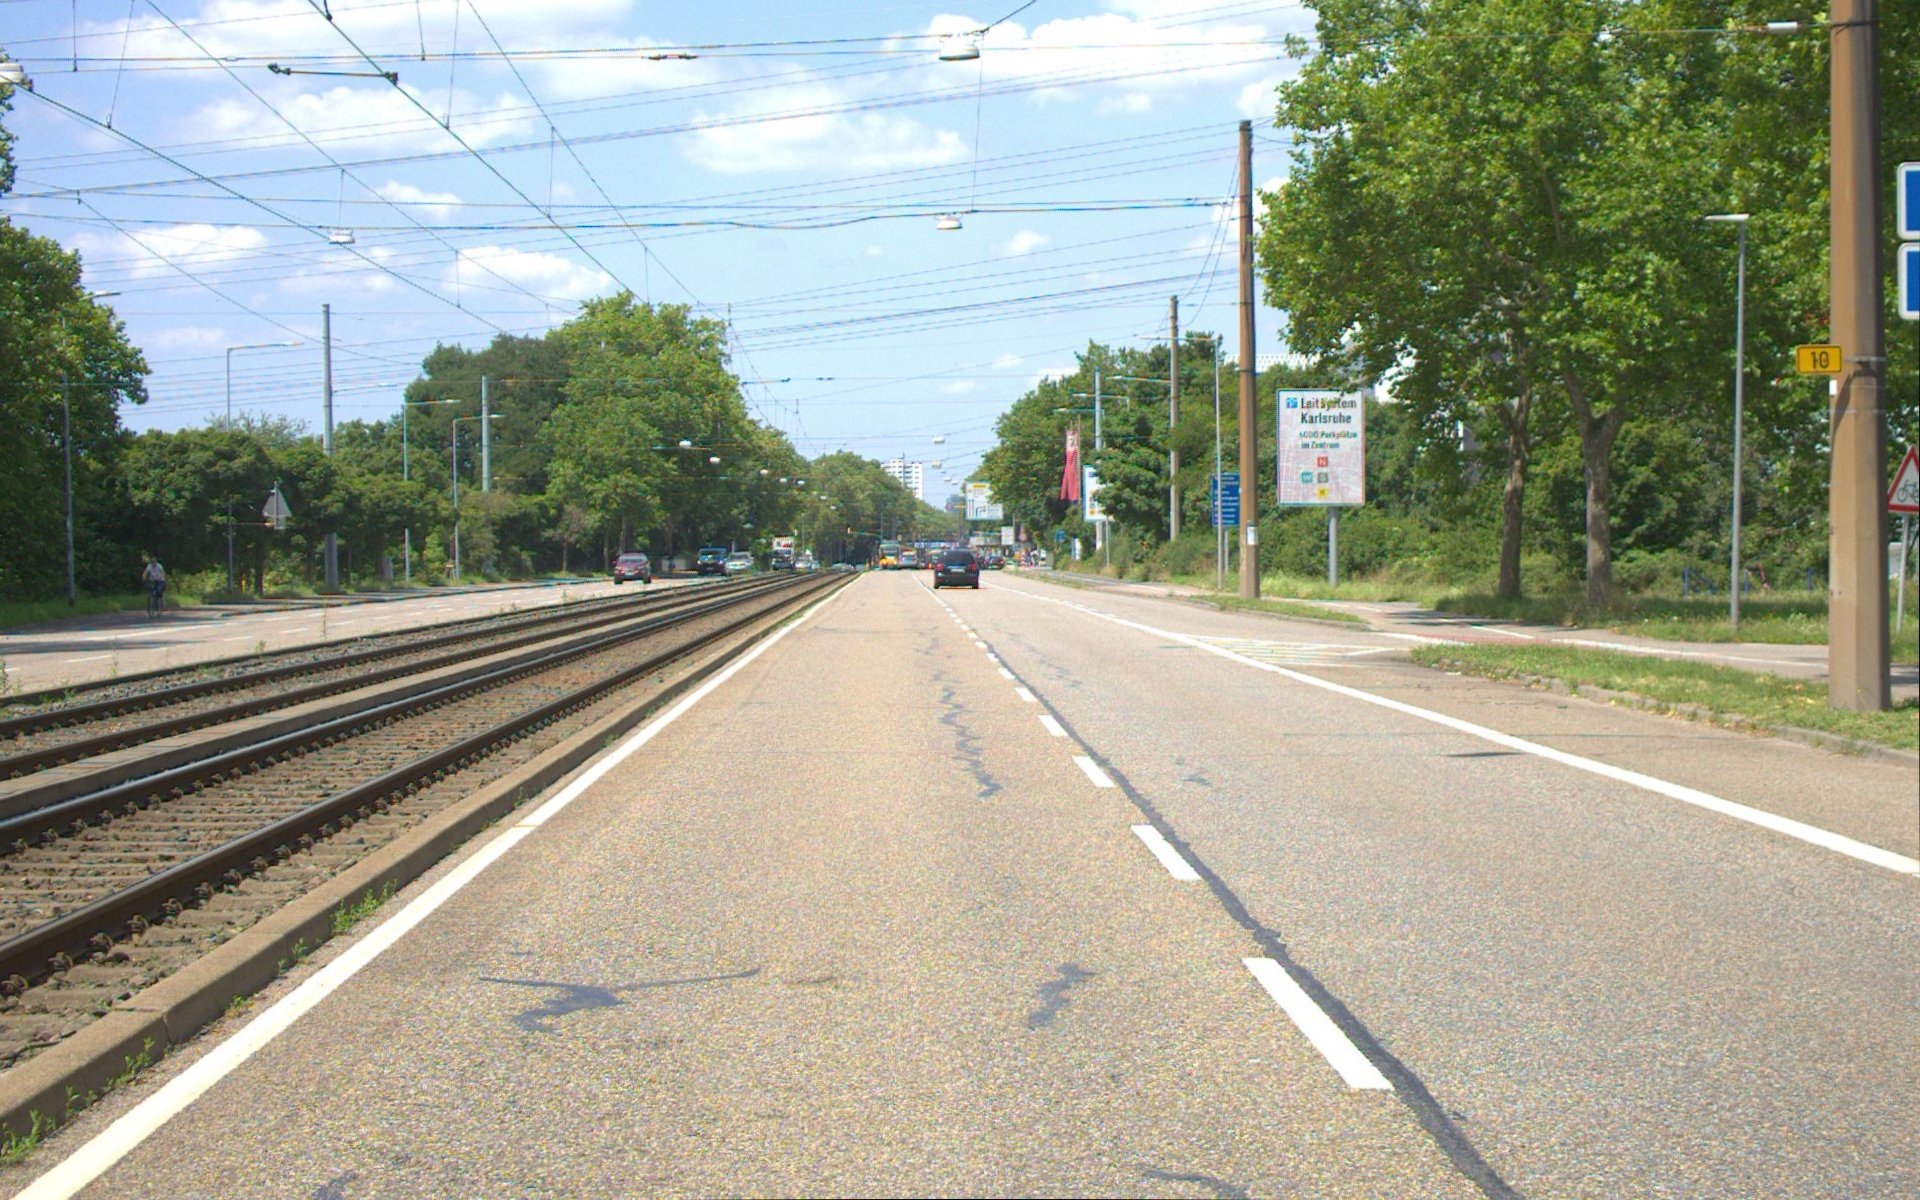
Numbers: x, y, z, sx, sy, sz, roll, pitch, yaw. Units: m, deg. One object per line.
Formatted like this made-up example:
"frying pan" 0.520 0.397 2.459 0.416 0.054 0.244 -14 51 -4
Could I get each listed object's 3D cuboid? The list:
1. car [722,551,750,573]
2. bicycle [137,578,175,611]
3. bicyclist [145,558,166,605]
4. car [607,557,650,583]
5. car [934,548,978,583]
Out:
"car" -15.016 -2.576 230.566 1.716 1.423 3.901 -1 1 -1
"bicycle" -21.965 -0.160 93.891 0.515 0.854 1.931 -1 1 2
"bicyclist" -21.943 -0.507 93.812 0.454 1.268 0.398 -1 1 2
"car" -17.437 -1.589 180.789 1.875 1.327 3.918 -2 1 0
"car" -0.174 -1.373 136.283 1.586 1.338 3.273 -1 2 -2
